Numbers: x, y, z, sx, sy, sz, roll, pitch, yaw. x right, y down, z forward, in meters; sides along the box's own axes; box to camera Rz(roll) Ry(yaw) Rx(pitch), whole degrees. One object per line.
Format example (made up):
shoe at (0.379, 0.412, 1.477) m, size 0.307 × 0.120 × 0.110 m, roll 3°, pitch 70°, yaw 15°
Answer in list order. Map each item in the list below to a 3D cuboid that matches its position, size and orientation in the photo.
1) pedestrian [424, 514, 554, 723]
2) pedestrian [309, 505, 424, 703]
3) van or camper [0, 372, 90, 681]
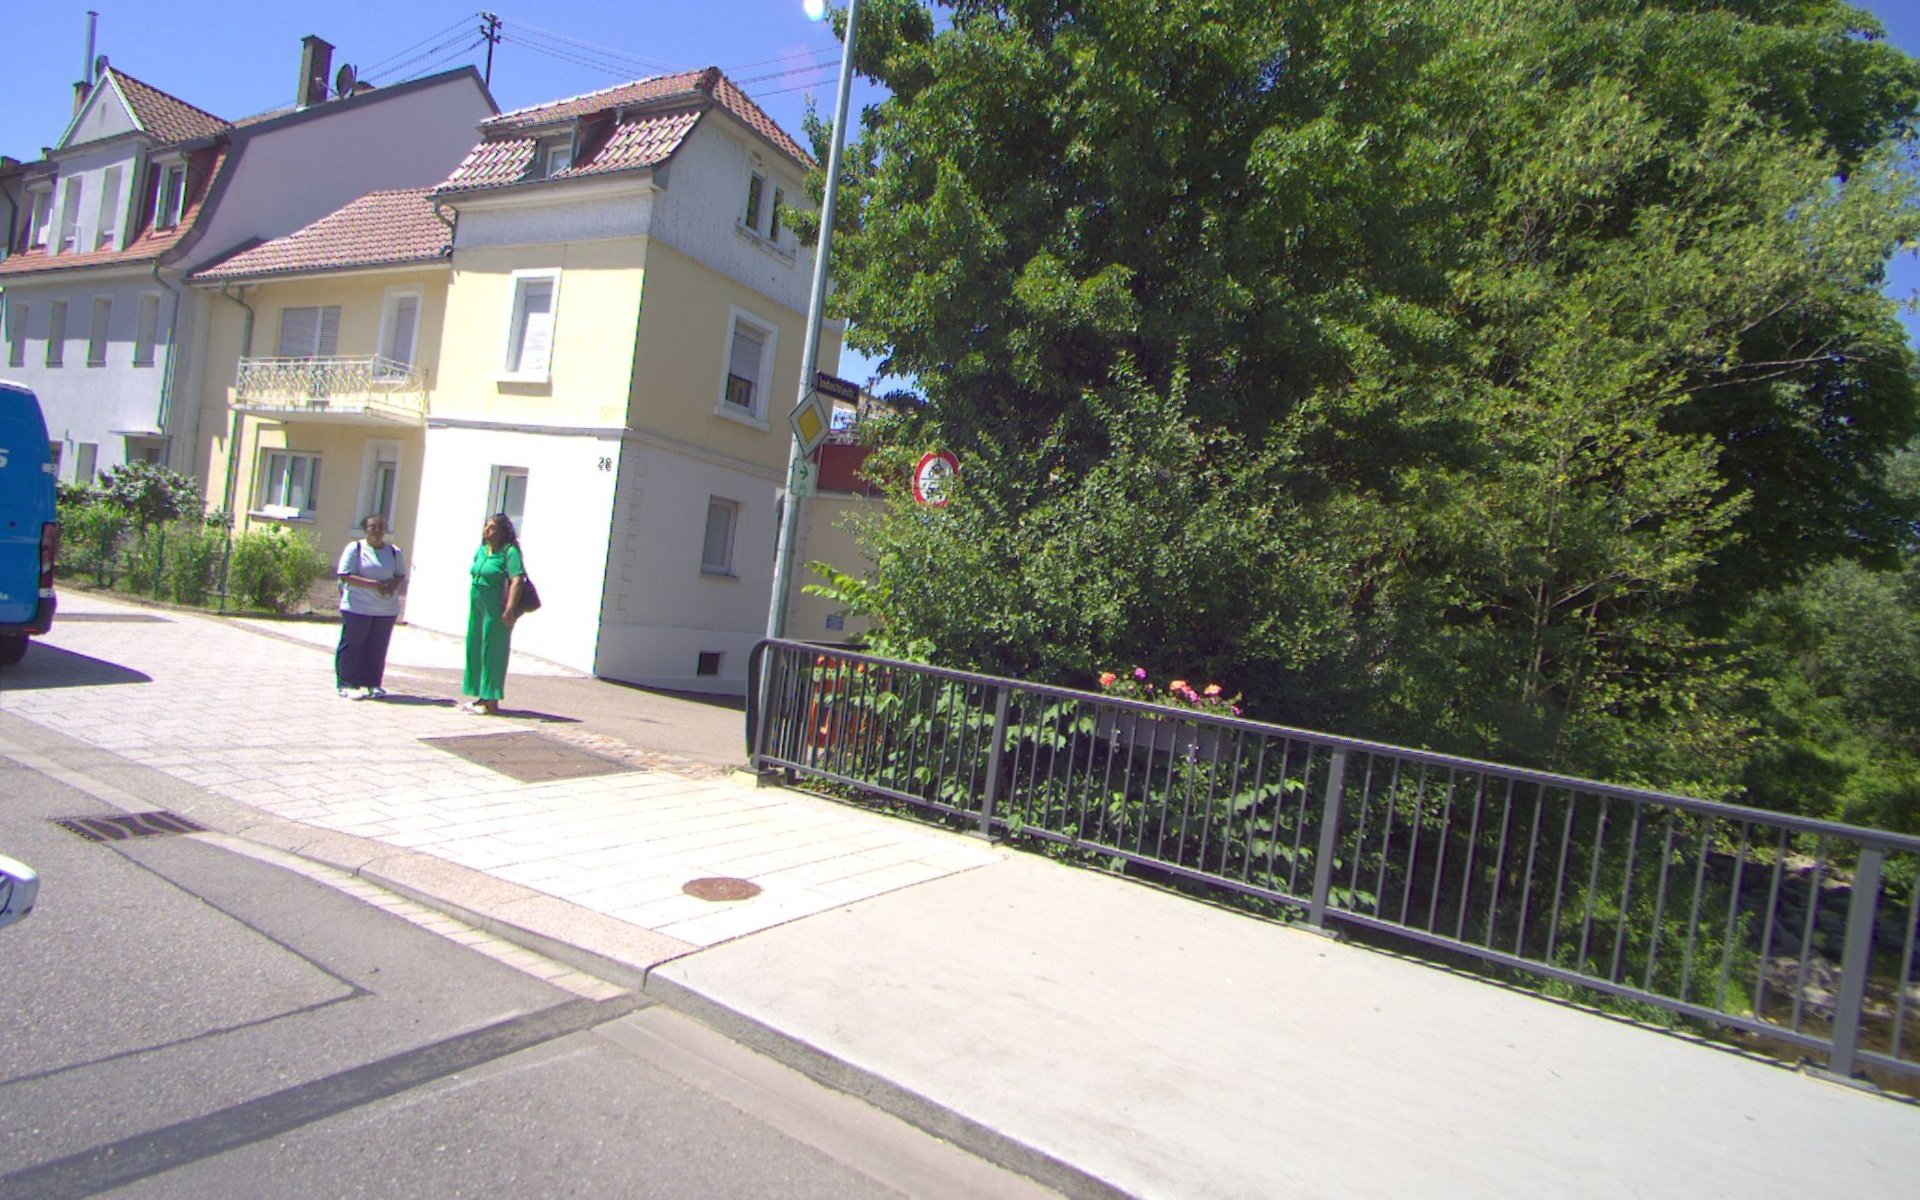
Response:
pedestrian at (-4.193, 0.152, 8.965) m, size 0.789 × 1.730 × 0.520 m, roll 7°, pitch 4°, yaw 11°
pedestrian at (-5.318, 0.032, 9.017) m, size 0.512 × 1.677 × 0.636 m, roll 8°, pitch 4°, yaw 29°
van or camper at (-10.618, -0.885, 9.339) m, size 6.076 × 2.499 × 2.109 m, roll 6°, pitch 1°, yaw 33°
